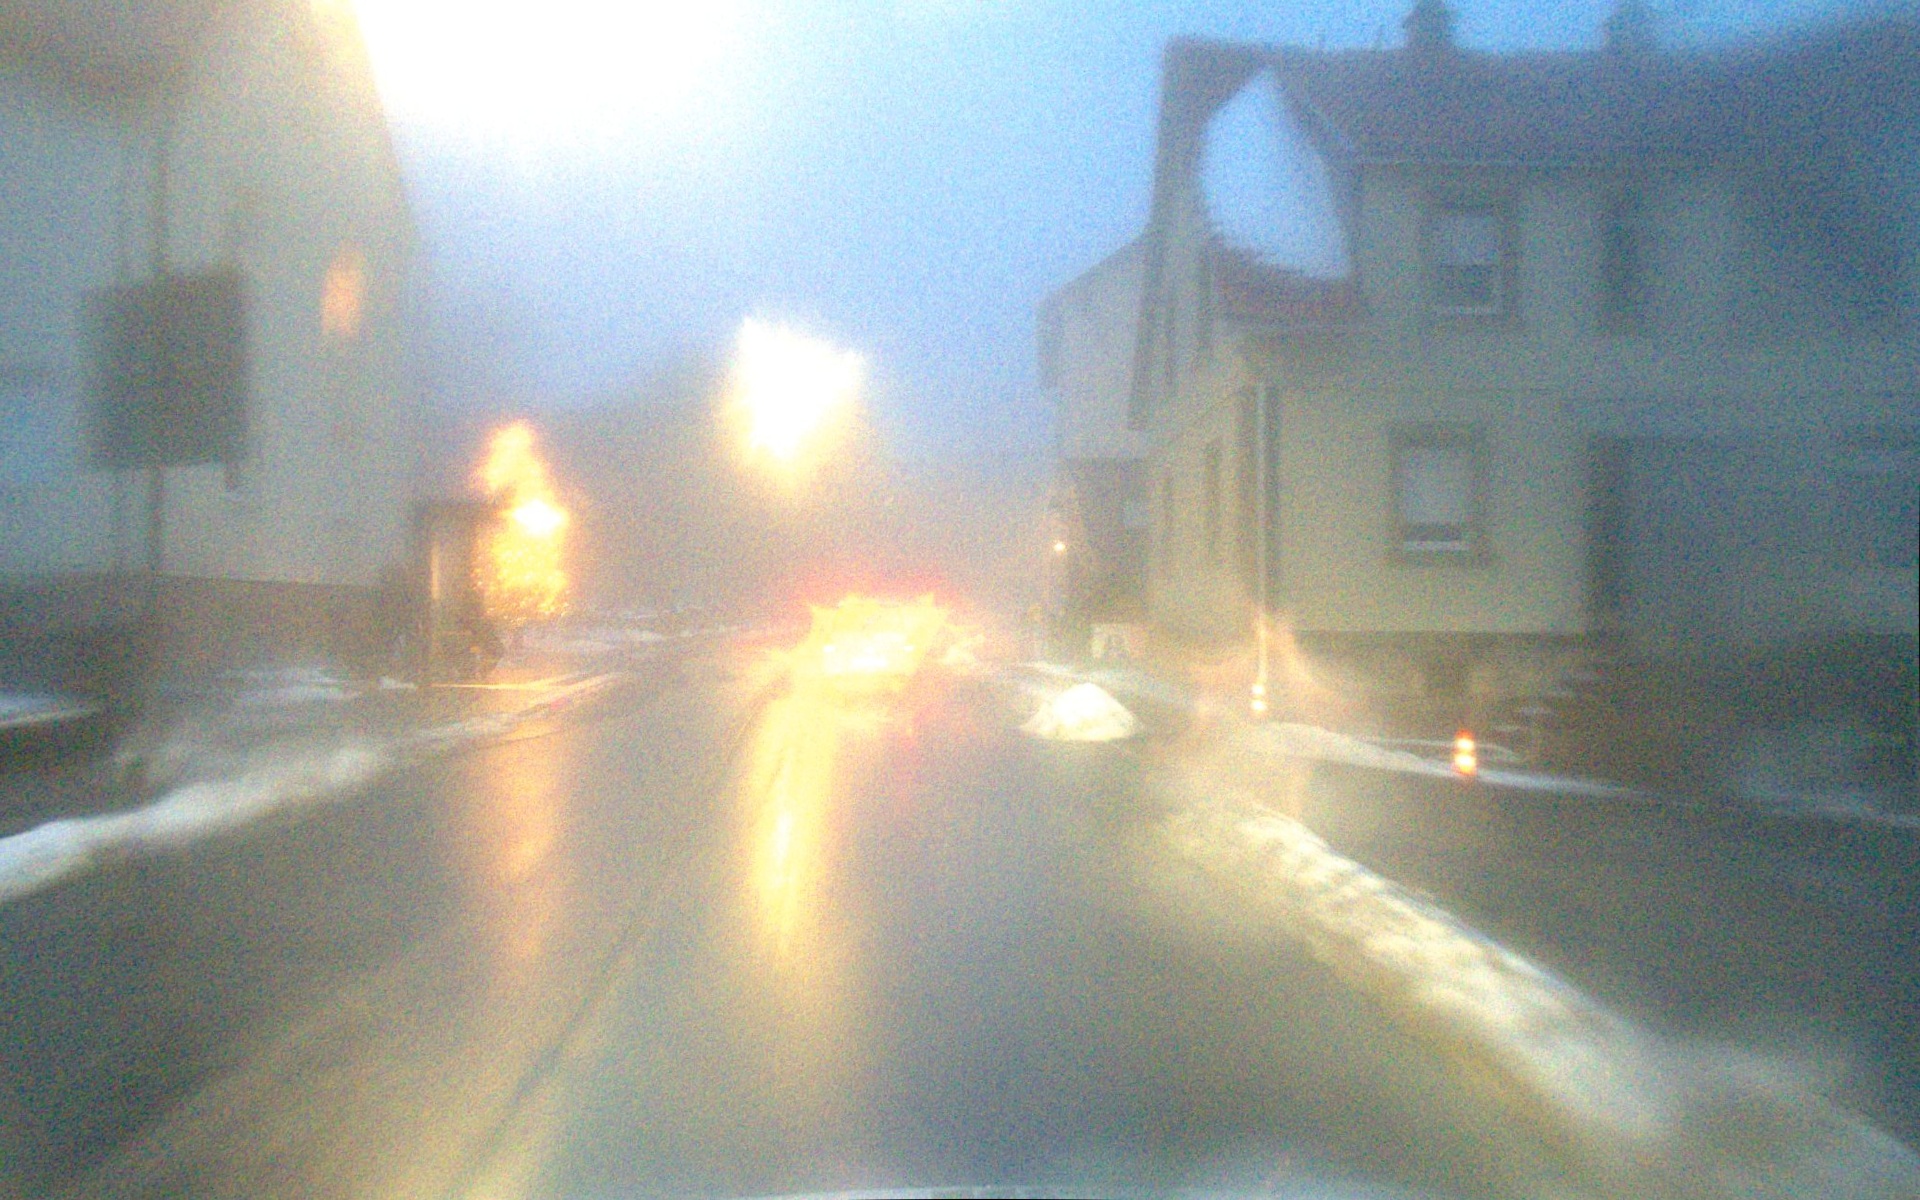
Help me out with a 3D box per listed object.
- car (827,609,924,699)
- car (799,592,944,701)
[{"bbox_3d":[-2.052,1.387,41.498,1.952,2.049,4.000,3,-3,3],"label":"car"},{"bbox_3d":[-1.355,0.801,27.065,1.952,1.534,4.000,3,-3,2],"label":"car"}]
